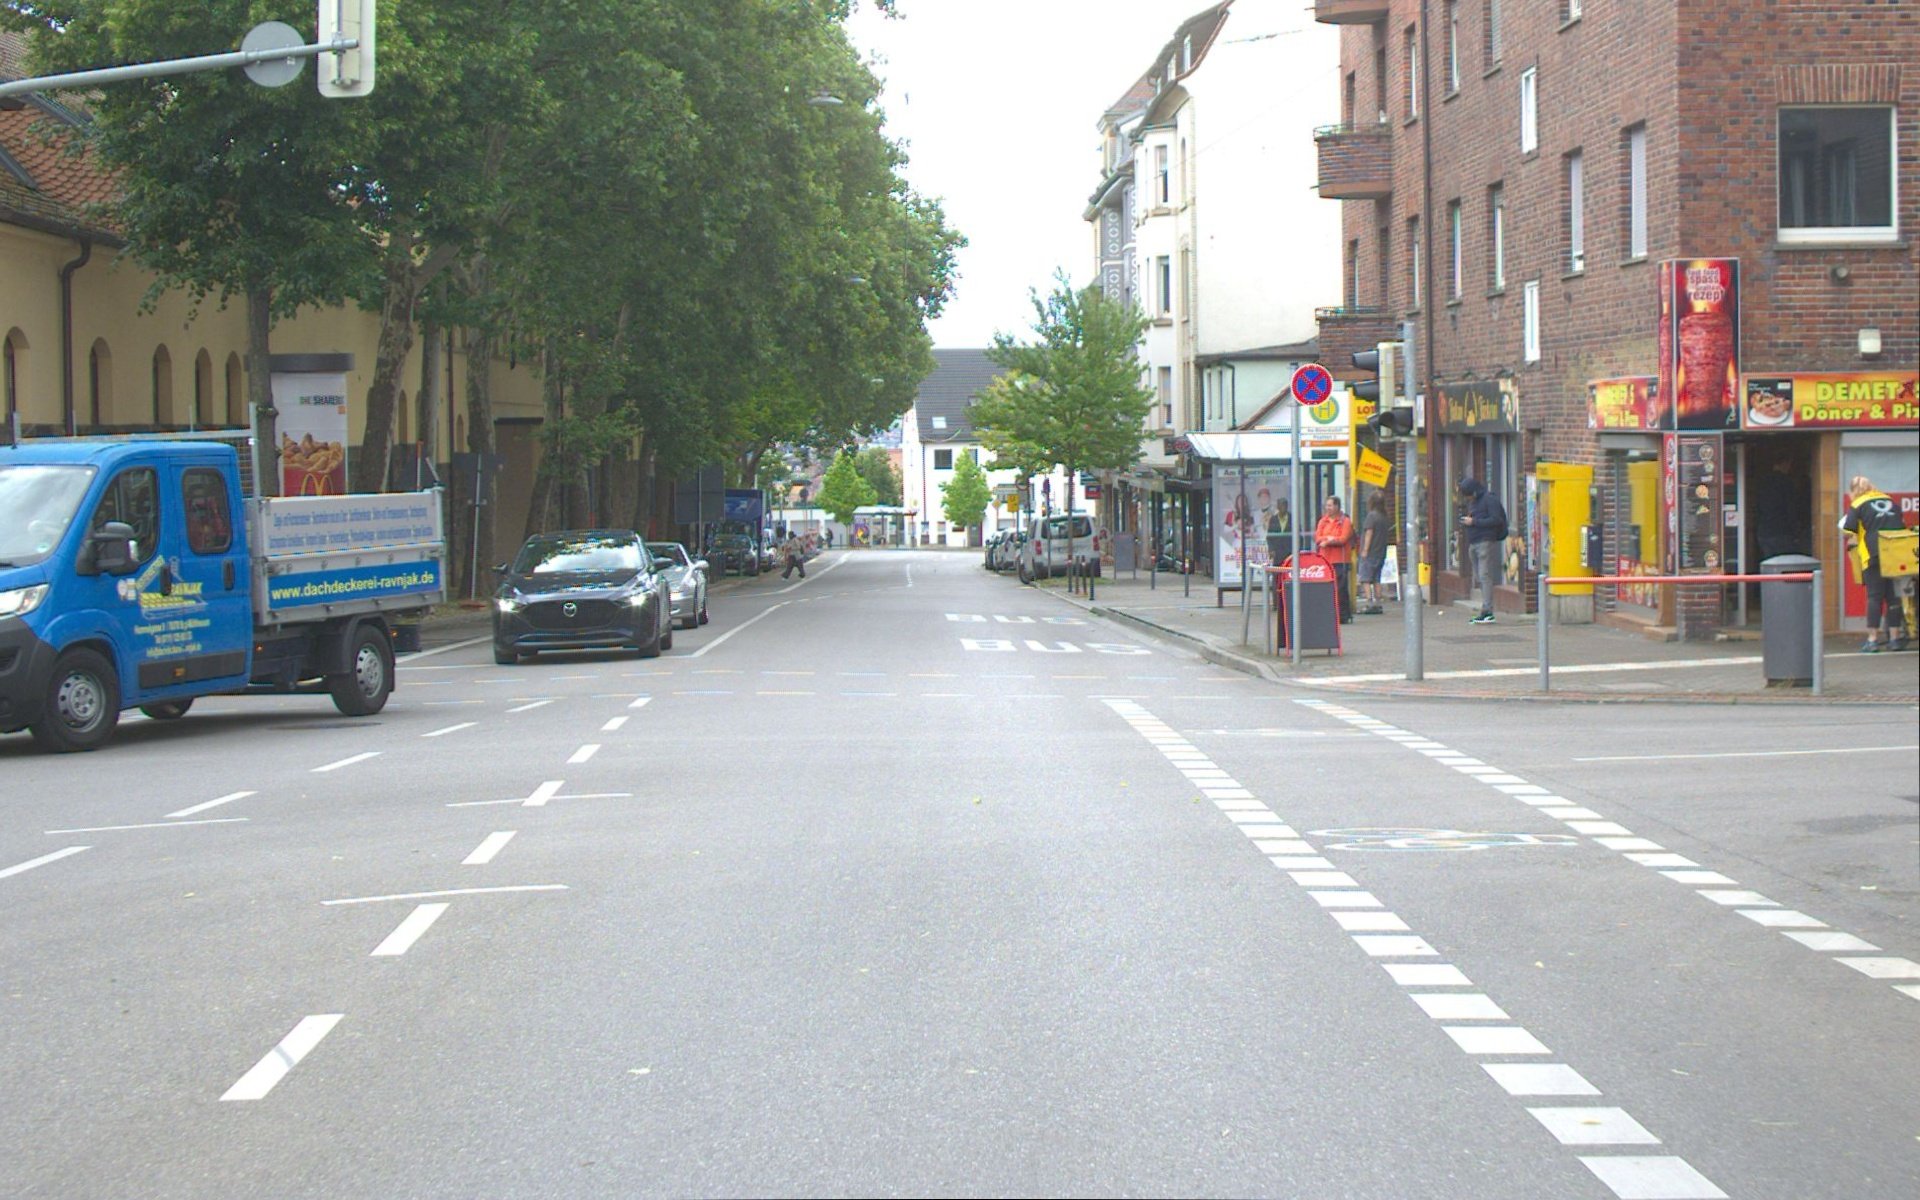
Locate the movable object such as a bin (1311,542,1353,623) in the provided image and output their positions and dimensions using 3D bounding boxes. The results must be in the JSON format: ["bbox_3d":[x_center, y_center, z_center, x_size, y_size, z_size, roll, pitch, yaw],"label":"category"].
[{"bbox_3d":[4.876,-0.228,45.059,0.453,1.053,0.410,0,1,19],"label":"movable object such as a bin"}]

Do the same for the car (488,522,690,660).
[{"bbox_3d":[-4.099,-0.138,38.572,1.703,1.409,4.192,-2,1,1],"label":"car"}]

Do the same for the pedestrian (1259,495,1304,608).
[{"bbox_3d":[4.955,-0.755,52.969,0.670,1.721,0.763,0,1,5],"label":"pedestrian"}]

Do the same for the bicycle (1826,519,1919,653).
[{"bbox_3d":[8.719,-0.153,31.844,0.760,1.189,2.392,-1,1,-1],"label":"bicycle"}]

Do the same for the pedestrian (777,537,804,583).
[{"bbox_3d":[-5.685,-1.331,115.279,0.672,1.531,0.611,-1,1,-28],"label":"pedestrian"}]

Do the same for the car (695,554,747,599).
[{"bbox_3d":[-8.641,-0.875,124.471,1.834,1.572,3.757,-1,1,-4],"label":"car"}]

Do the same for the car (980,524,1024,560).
[{"bbox_3d":[1.831,-2.555,151.329,1.668,1.542,3.757,-1,1,-4],"label":"car"}]

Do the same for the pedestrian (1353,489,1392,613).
[{"bbox_3d":[5.931,-0.705,49.474,0.479,1.759,0.458,-1,1,-1],"label":"pedestrian"}]

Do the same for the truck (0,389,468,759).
[{"bbox_3d":[-6.253,-0.239,25.901,2.297,2.419,6.405,-2,1,19],"label":"truck"}]

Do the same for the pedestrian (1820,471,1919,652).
[{"bbox_3d":[8.642,-0.370,32.437,0.788,1.650,0.772,-3,1,0],"label":"pedestrian"}]

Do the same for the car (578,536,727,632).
[{"bbox_3d":[-4.491,-0.246,50.646,1.685,1.271,4.095,-3,0,1],"label":"car"}]

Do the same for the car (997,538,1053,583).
[{"bbox_3d":[2.274,-1.400,121.364,1.668,1.542,3.757,-1,1,-4],"label":"car"}]

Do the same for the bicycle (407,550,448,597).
[{"bbox_3d":[-12.904,-0.648,83.350,0.596,1.087,2.195,2,1,1],"label":"bicycle"}]

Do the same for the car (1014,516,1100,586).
[{"bbox_3d":[2.729,-1.399,97.927,1.993,1.929,4.920,-1,1,-4],"label":"car"}]

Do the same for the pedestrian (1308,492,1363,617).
[{"bbox_3d":[4.955,-0.598,45.366,0.565,1.631,0.680,0,1,19],"label":"pedestrian"}]

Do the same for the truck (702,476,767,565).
[{"bbox_3d":[-8.739,-3.089,133.830,2.230,3.335,7.450,-1,1,-2],"label":"truck"}]

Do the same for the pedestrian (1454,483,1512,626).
[{"bbox_3d":[6.467,-0.563,42.559,0.647,1.744,0.778,0,1,5],"label":"pedestrian"}]
